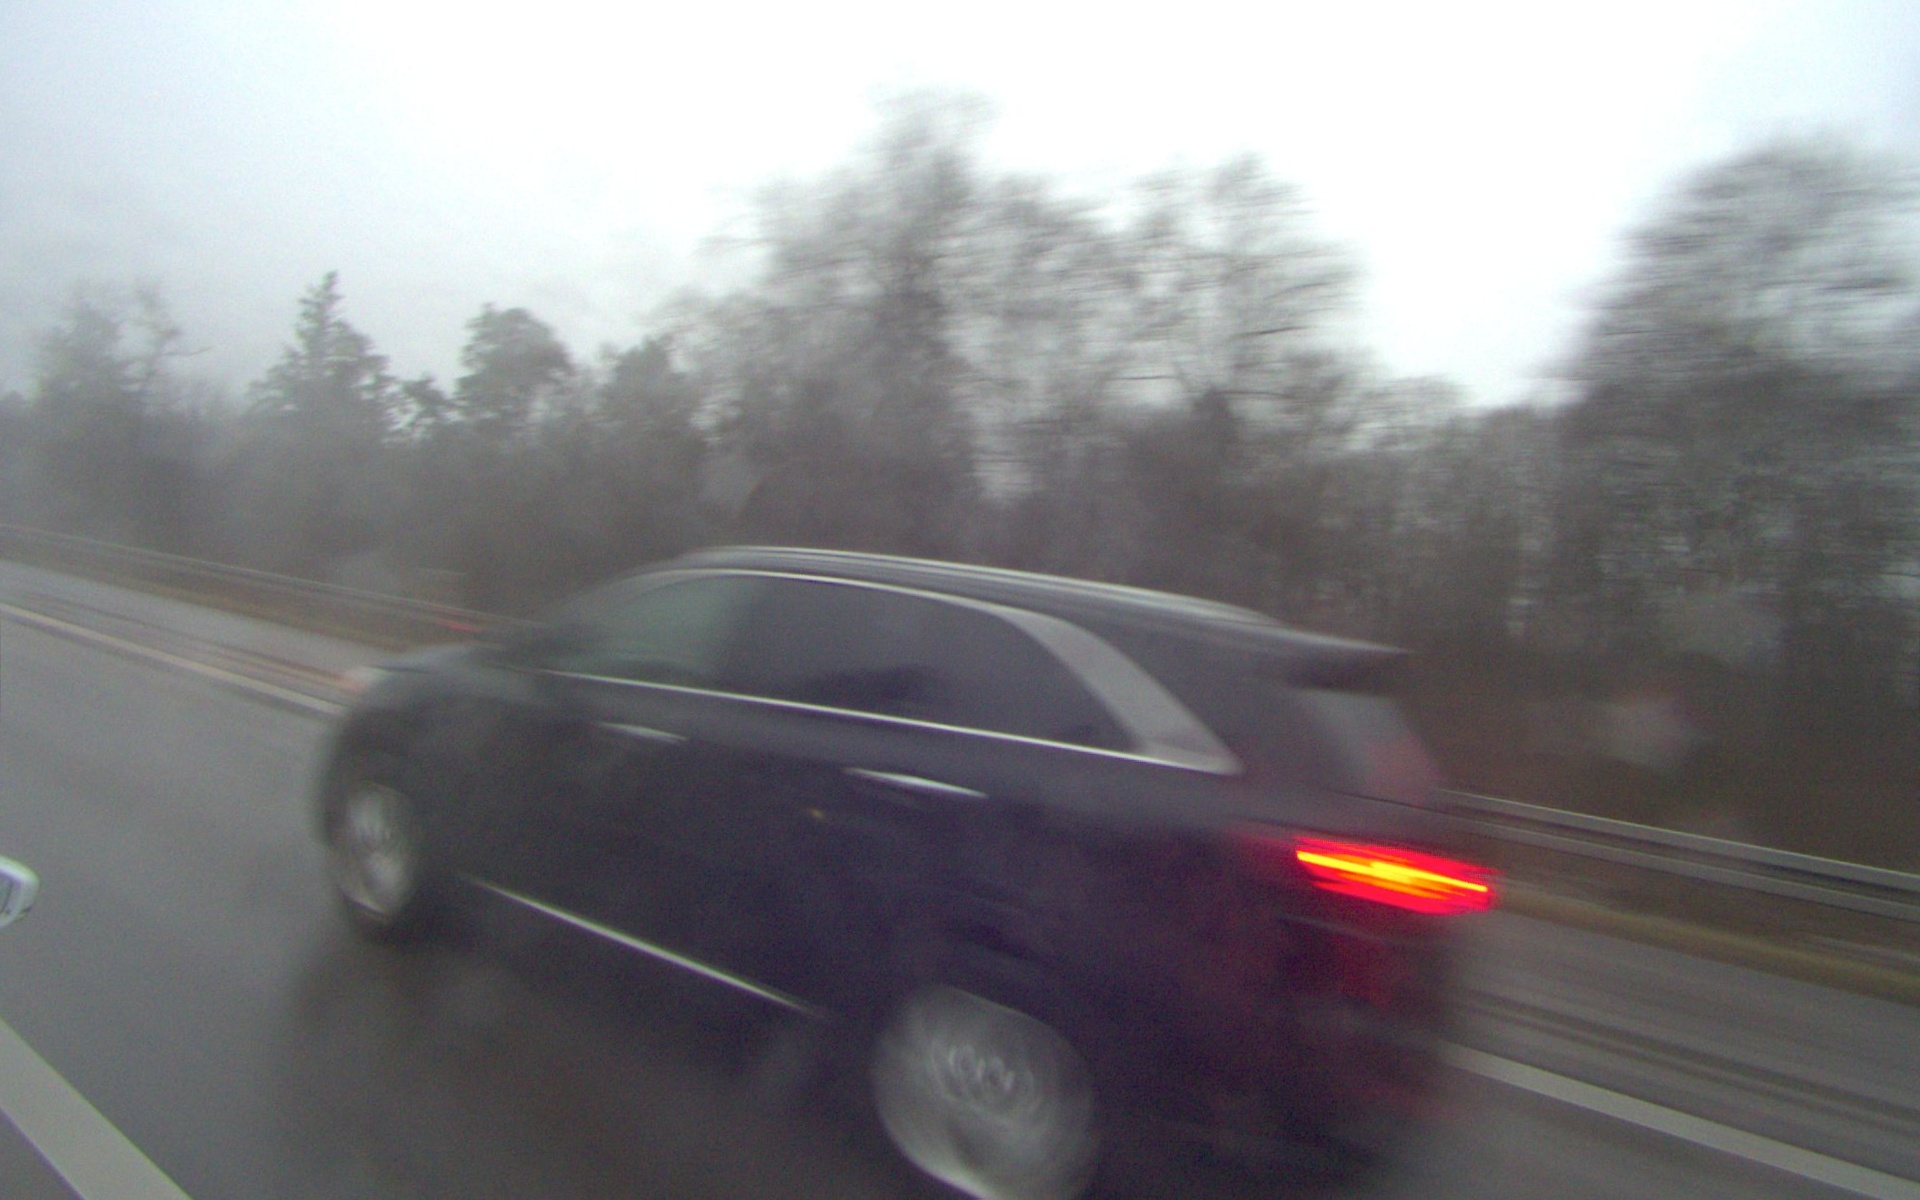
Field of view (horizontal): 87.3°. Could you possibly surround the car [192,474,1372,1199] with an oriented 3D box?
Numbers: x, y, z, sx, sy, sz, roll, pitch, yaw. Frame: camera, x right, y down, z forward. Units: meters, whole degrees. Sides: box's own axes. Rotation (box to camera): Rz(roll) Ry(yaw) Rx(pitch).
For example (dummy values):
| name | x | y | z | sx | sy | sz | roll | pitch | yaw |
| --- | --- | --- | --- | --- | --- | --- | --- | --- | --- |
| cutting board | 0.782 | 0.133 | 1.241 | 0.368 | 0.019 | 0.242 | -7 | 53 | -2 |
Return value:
| name | x | y | z | sx | sy | sz | roll | pitch | yaw |
| --- | --- | --- | --- | --- | --- | --- | --- | --- | --- |
| car | -0.879 | 0.617 | 4.168 | 4.386 | 1.717 | 2.074 | 7 | -1 | 31 |
